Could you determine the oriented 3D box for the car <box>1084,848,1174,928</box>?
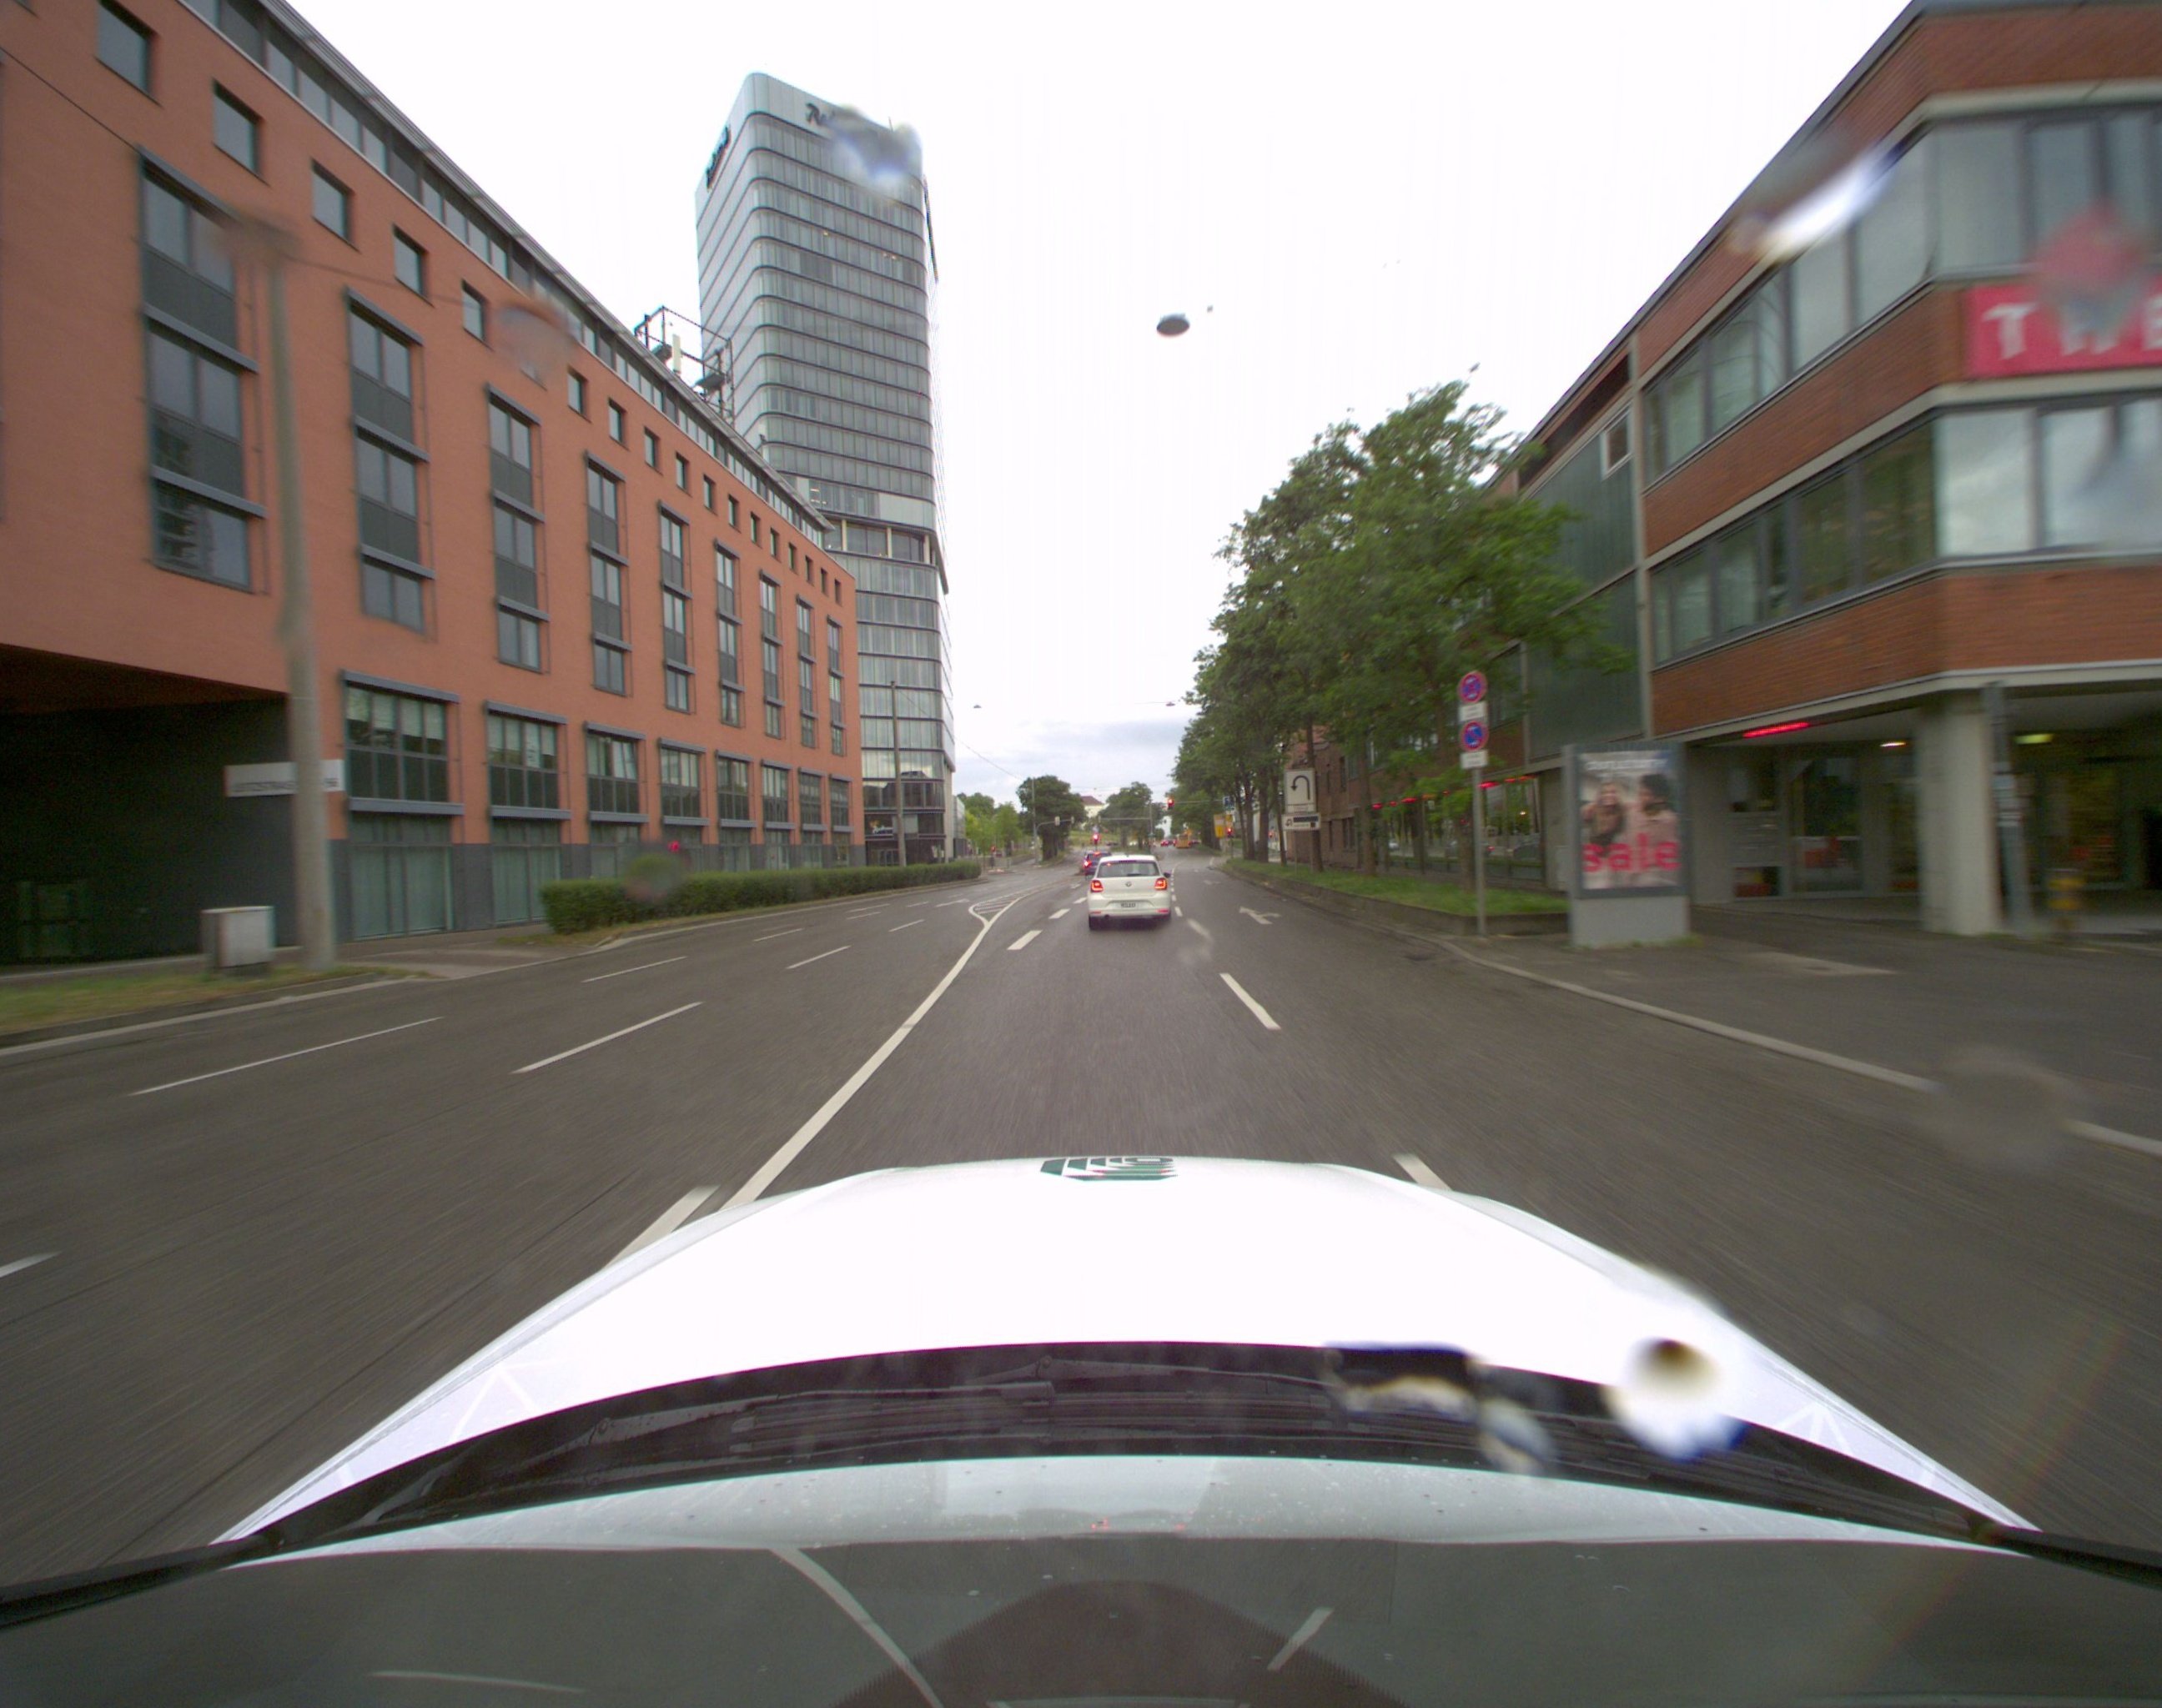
[{"bbox_3d":[1.030,0.640,17.412,1.664,1.474,3.783,-2,0,4],"label":"car"}]

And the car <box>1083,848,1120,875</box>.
[{"bbox_3d":[1.350,0.476,52.373,1.983,1.574,4.007,-2,0,6],"label":"car"}]

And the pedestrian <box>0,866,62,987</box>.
[{"bbox_3d":[-16.922,1.144,12.258,1.309,1.823,1.441,-5,-2,6],"label":"pedestrian"}]
